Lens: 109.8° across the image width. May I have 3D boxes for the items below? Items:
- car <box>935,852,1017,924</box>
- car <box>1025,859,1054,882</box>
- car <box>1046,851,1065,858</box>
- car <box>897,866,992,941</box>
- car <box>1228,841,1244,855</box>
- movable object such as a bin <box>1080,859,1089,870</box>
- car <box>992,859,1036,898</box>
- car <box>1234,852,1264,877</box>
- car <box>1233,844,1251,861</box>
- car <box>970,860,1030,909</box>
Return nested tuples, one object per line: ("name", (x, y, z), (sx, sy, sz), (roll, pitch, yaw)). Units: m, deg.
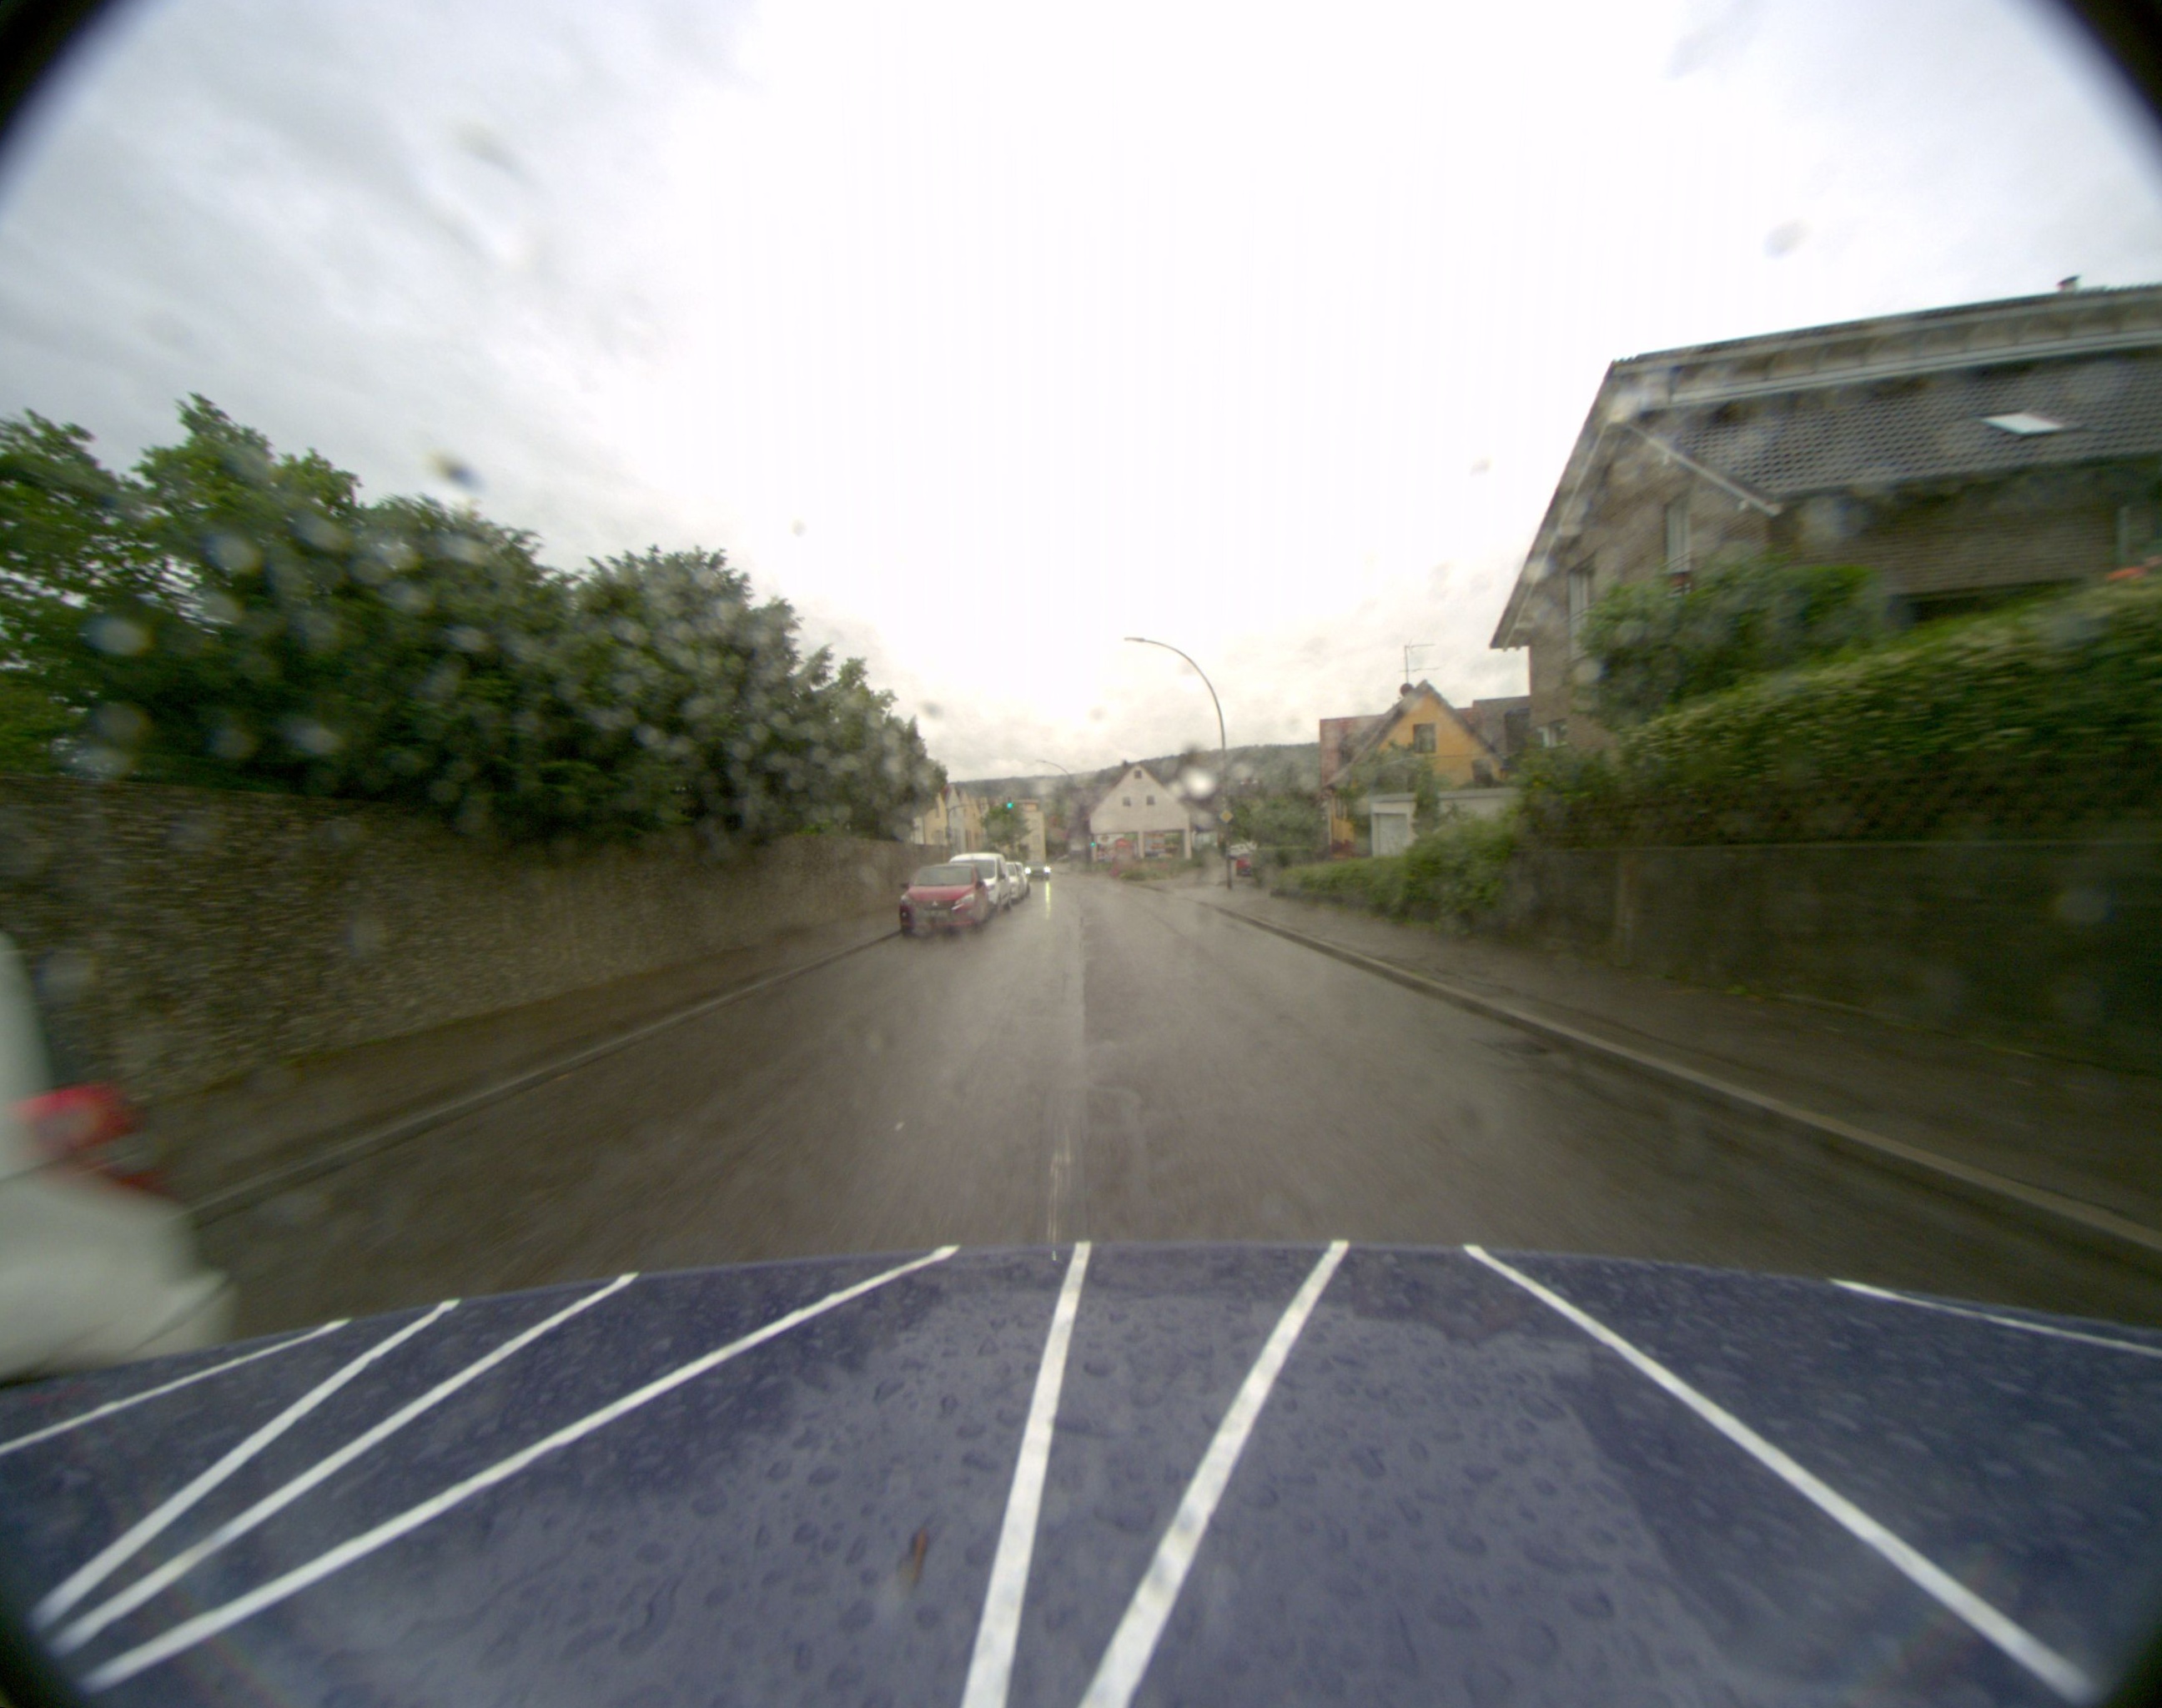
("car", (-2.900, 0.878, 21.838), (1.641, 1.731, 4.135), (-3, 1, 1))
("car", (-3.102, 1.206, 56.541), (1.999, 1.521, 3.998), (-2, 1, -3))
("car", (-5.588, 0.037, 164.782), (1.875, 1.368, 4.008), (-1, 1, 42))
("car", (-2.959, 1.027, 17.134), (1.588, 1.446, 3.663), (-1, 0, -2))
("car", (17.022, -0.694, 83.380), (1.415, 1.421, 3.495), (-2, 2, 16))
("movable object such as a bin", (0.335, 1.037, 77.152), (0.899, 1.072, 0.651), (-4, 2, 0))
("car", (-2.857, 1.026, 32.943), (1.616, 1.471, 4.037), (-2, 0, -2))
("car", (11.478, 0.678, 51.682), (1.751, 1.553, 4.023), (-1, 0, 15))
("car", (18.794, -0.149, 88.747), (1.755, 1.878, 3.745), (-1, 0, 17))
("car", (-2.859, 1.048, 27.661), (1.650, 1.454, 3.999), (-3, 1, 1))
